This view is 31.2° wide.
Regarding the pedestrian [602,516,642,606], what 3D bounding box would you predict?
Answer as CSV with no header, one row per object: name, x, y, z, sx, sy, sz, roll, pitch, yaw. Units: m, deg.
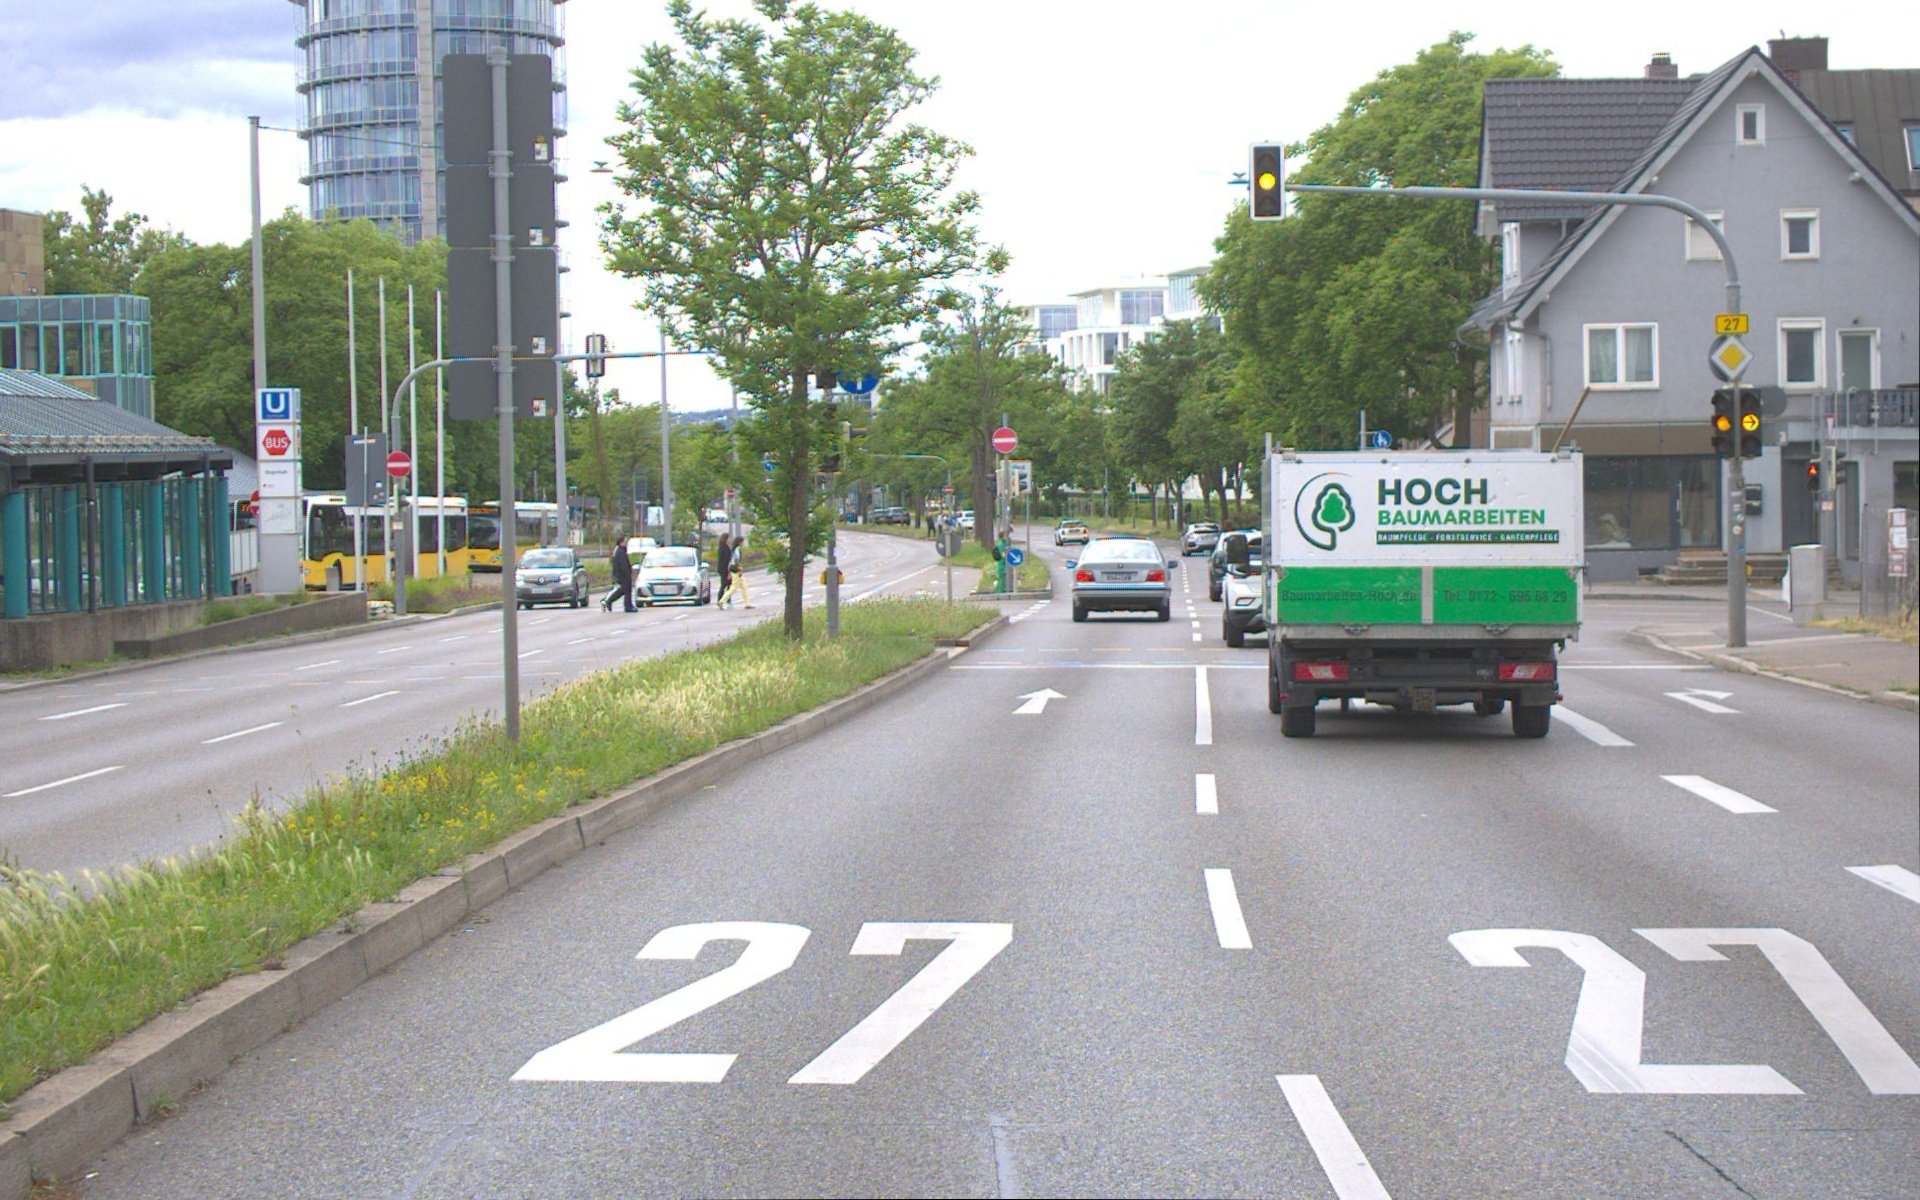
pedestrian,-7.623,-0.874,77.552,0.830,2.007,0.546,-1,1,-3

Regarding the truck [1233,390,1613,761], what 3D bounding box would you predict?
truck,3.511,-0.296,27.433,2.471,2.602,6.547,0,2,3

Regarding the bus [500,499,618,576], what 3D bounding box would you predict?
bus,-18.828,-2.935,162.282,2.832,3.419,10.730,-1,1,8

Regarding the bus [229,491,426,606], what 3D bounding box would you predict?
bus,-20.016,-1.639,109.623,2.832,3.419,10.730,-1,1,8

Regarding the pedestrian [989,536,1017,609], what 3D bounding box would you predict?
pedestrian,1.008,-0.647,80.717,0.583,1.710,0.546,-1,1,-3

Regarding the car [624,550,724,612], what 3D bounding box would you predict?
car,-7.204,-0.498,86.891,1.994,1.481,4.000,-1,1,3

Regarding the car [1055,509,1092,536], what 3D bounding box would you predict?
car,6.546,-4.462,197.828,1.993,1.514,4.000,-1,1,0

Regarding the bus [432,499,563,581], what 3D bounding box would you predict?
bus,-20.314,-2.659,151.631,2.832,3.419,10.730,-1,1,8

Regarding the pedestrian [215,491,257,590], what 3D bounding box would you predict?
pedestrian,-14.936,-1.227,70.938,0.681,2.007,0.646,-1,1,0

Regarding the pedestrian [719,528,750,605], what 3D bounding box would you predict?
pedestrian,-5.074,-0.756,77.385,0.653,1.710,0.452,-1,1,-3

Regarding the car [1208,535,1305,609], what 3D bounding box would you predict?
car,6.352,-0.633,74.077,1.994,1.546,4.000,0,1,4

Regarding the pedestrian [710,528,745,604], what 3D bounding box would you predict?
pedestrian,-5.262,-0.769,77.953,0.745,1.710,0.583,-1,1,-3

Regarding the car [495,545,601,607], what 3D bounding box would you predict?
car,-10.459,-0.621,87.497,1.994,1.481,4.000,-1,1,3

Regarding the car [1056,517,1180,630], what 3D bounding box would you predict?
car,2.715,-0.476,58.258,1.994,1.824,4.000,1,1,4

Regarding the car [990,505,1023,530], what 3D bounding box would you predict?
car,2.869,-5.089,211.804,1.993,1.514,4.000,-1,1,0

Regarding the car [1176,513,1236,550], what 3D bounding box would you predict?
car,10.642,-2.948,149.016,1.993,1.546,4.001,-1,1,-5

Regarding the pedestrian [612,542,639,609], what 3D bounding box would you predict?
pedestrian,-7.605,-0.557,78.221,0.543,1.491,0.487,-1,1,0
